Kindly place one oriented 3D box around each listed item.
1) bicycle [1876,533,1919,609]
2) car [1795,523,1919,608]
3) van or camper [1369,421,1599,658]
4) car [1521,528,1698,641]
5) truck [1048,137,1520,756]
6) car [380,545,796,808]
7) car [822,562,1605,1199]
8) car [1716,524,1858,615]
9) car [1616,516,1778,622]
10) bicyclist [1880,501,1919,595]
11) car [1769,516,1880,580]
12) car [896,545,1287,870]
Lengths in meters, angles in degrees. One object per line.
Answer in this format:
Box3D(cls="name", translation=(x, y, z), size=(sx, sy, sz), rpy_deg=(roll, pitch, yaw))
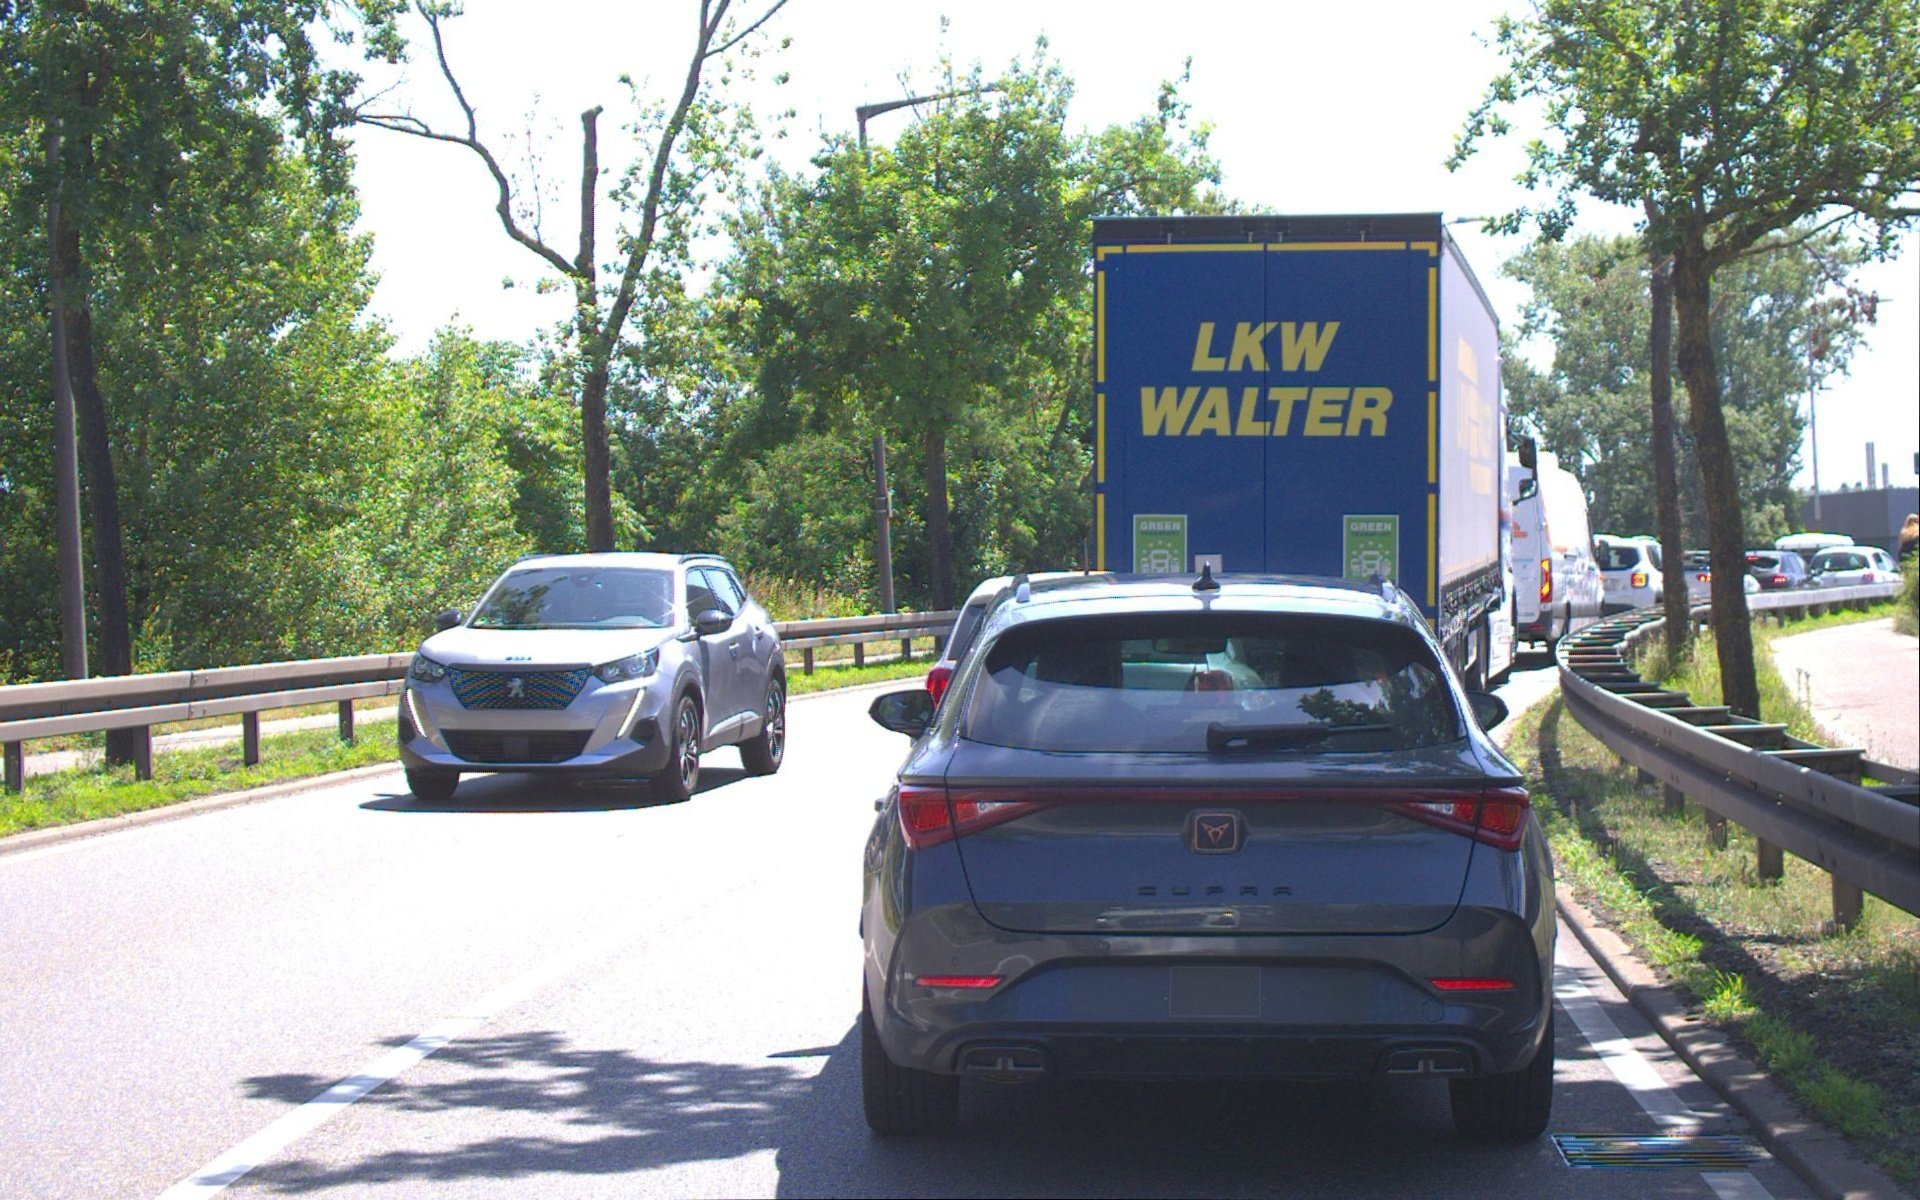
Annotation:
Box3D(cls="bicycle", translation=(15.632, -0.478, 56.537), size=(0.861, 1.232, 2.307), rpy_deg=(1, 1, 21))
Box3D(cls="car", translation=(19.471, -0.741, 74.188), size=(1.996, 1.762, 4.749), rpy_deg=(1, 1, 24))
Box3D(cls="van or camper", translation=(7.207, -0.806, 46.701), size=(2.468, 2.988, 6.082), rpy_deg=(1, 1, 14))
Box3D(cls="car", translation=(10.375, -0.270, 54.657), size=(1.995, 1.706, 4.615), rpy_deg=(1, 1, 21))
Box3D(cls="truck", translation=(3.670, -1.207, 33.173), size=(2.951, 4.433, 16.790), rpy_deg=(0, 1, 11))
Box3D(cls="car", translation=(-2.324, 0.428, 22.549), size=(1.750, 1.550, 4.125), rpy_deg=(0, 1, 8))
Box3D(cls="car", translation=(0.614, 0.616, 9.653), size=(1.744, 1.427, 3.880), rpy_deg=(0, 1, 1))
Box3D(cls="car", translation=(16.311, -0.603, 67.664), size=(1.996, 1.711, 4.863), rpy_deg=(1, 1, 22))
Box3D(cls="car", translation=(13.130, -0.565, 61.067), size=(1.996, 1.802, 4.840), rpy_deg=(1, 1, 22))
Box3D(cls="bicyclist", translation=(15.618, -0.851, 56.515), size=(0.861, 1.518, 0.979), rpy_deg=(1, 1, 21))
Box3D(cls="car", translation=(21.410, -1.282, 85.072), size=(1.752, 1.550, 4.120), rpy_deg=(1, 1, 27))
Box3D(cls="car", translation=(0.684, 0.476, 18.022), size=(1.809, 1.503, 4.000), rpy_deg=(0, 1, 2))
